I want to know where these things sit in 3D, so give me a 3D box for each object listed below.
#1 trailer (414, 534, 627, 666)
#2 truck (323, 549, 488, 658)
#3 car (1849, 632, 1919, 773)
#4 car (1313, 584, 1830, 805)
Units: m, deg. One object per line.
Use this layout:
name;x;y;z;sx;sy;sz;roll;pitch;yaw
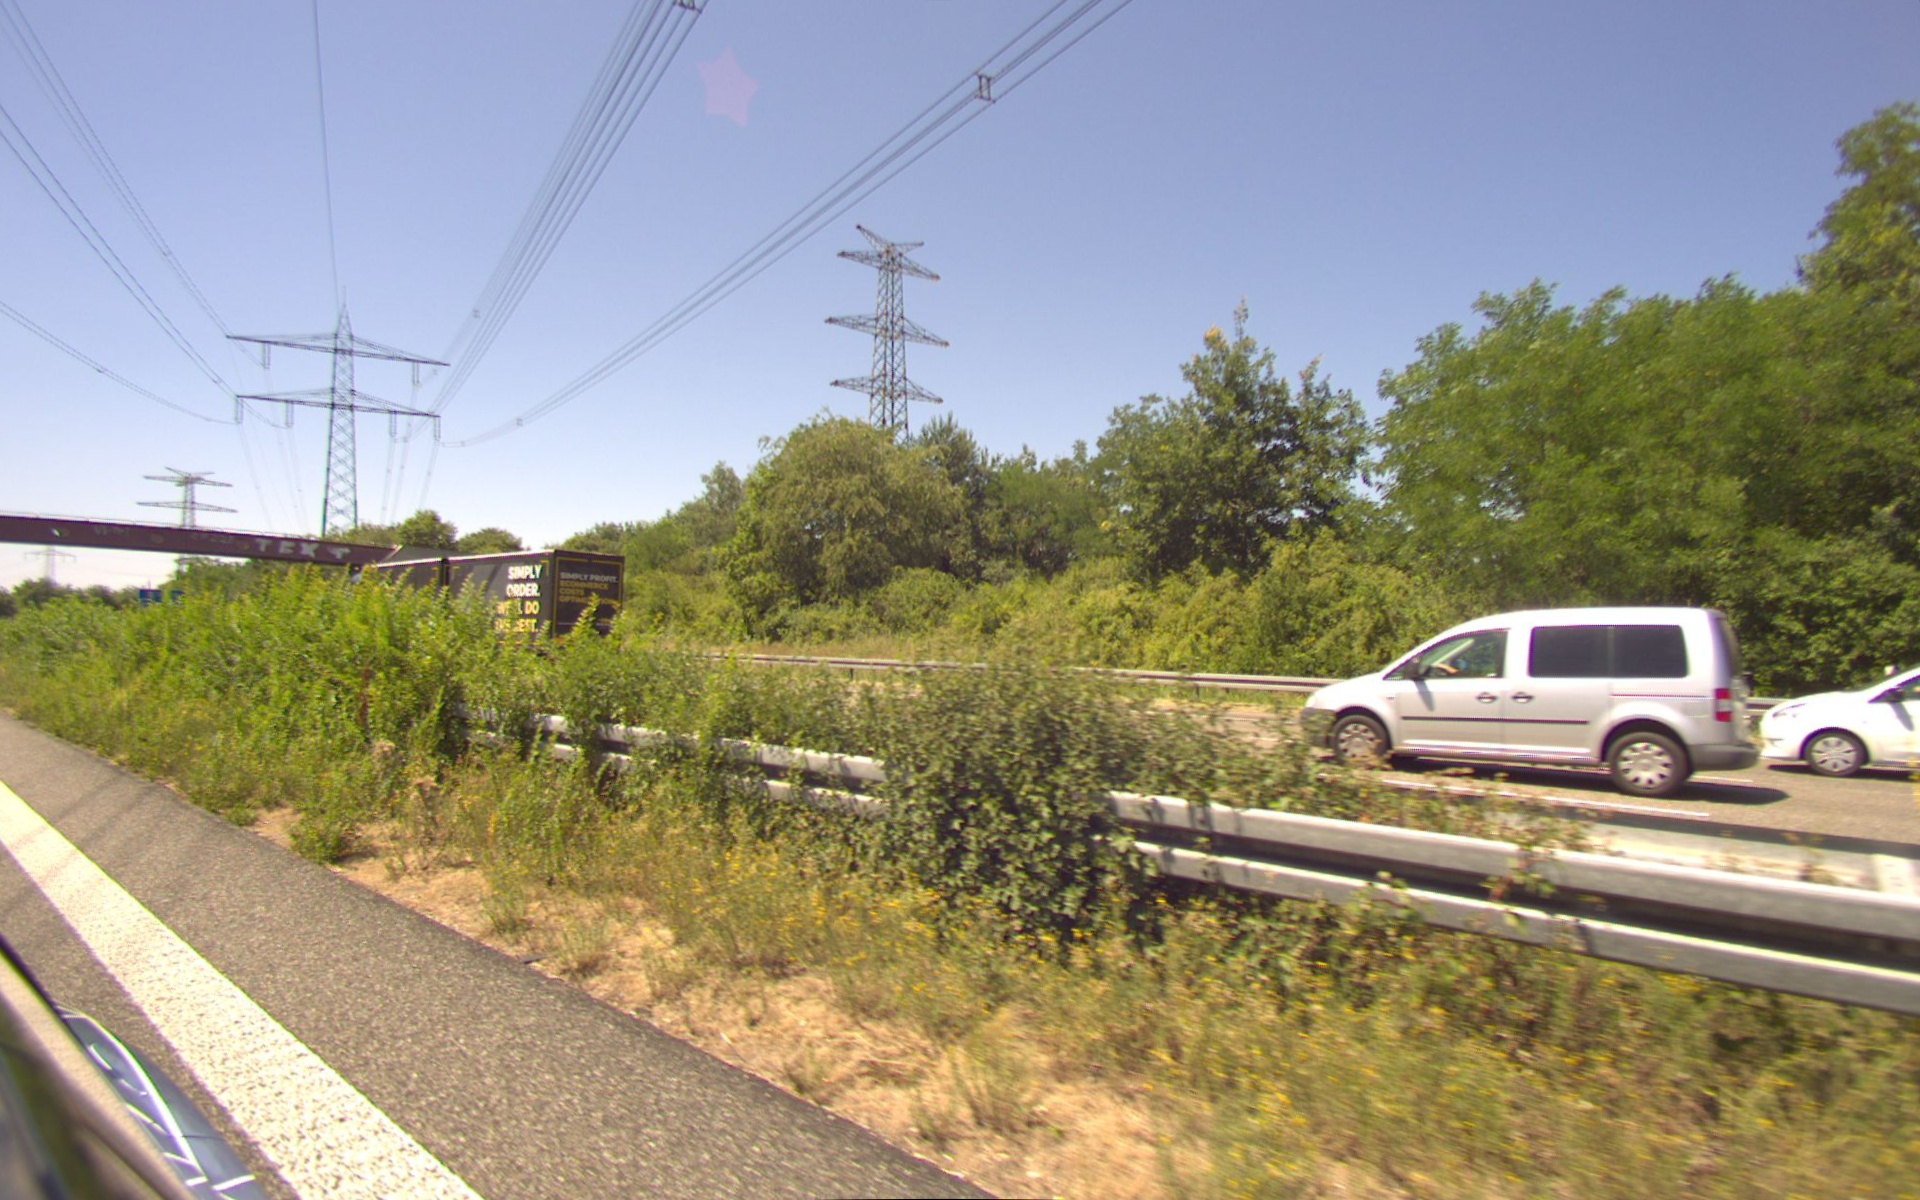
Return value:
trailer;-15.906;0.116;36.055;10.293;4.127;2.737;-1;-3;41
truck;-23.653;0.223;42.833;10.211;4.153;2.729;-1;-2;41
car;12.077;1.190;11.172;3.333;1.564;1.545;-1;-4;40
car;6.336;0.885;10.821;4.437;1.876;1.973;-1;-4;40
